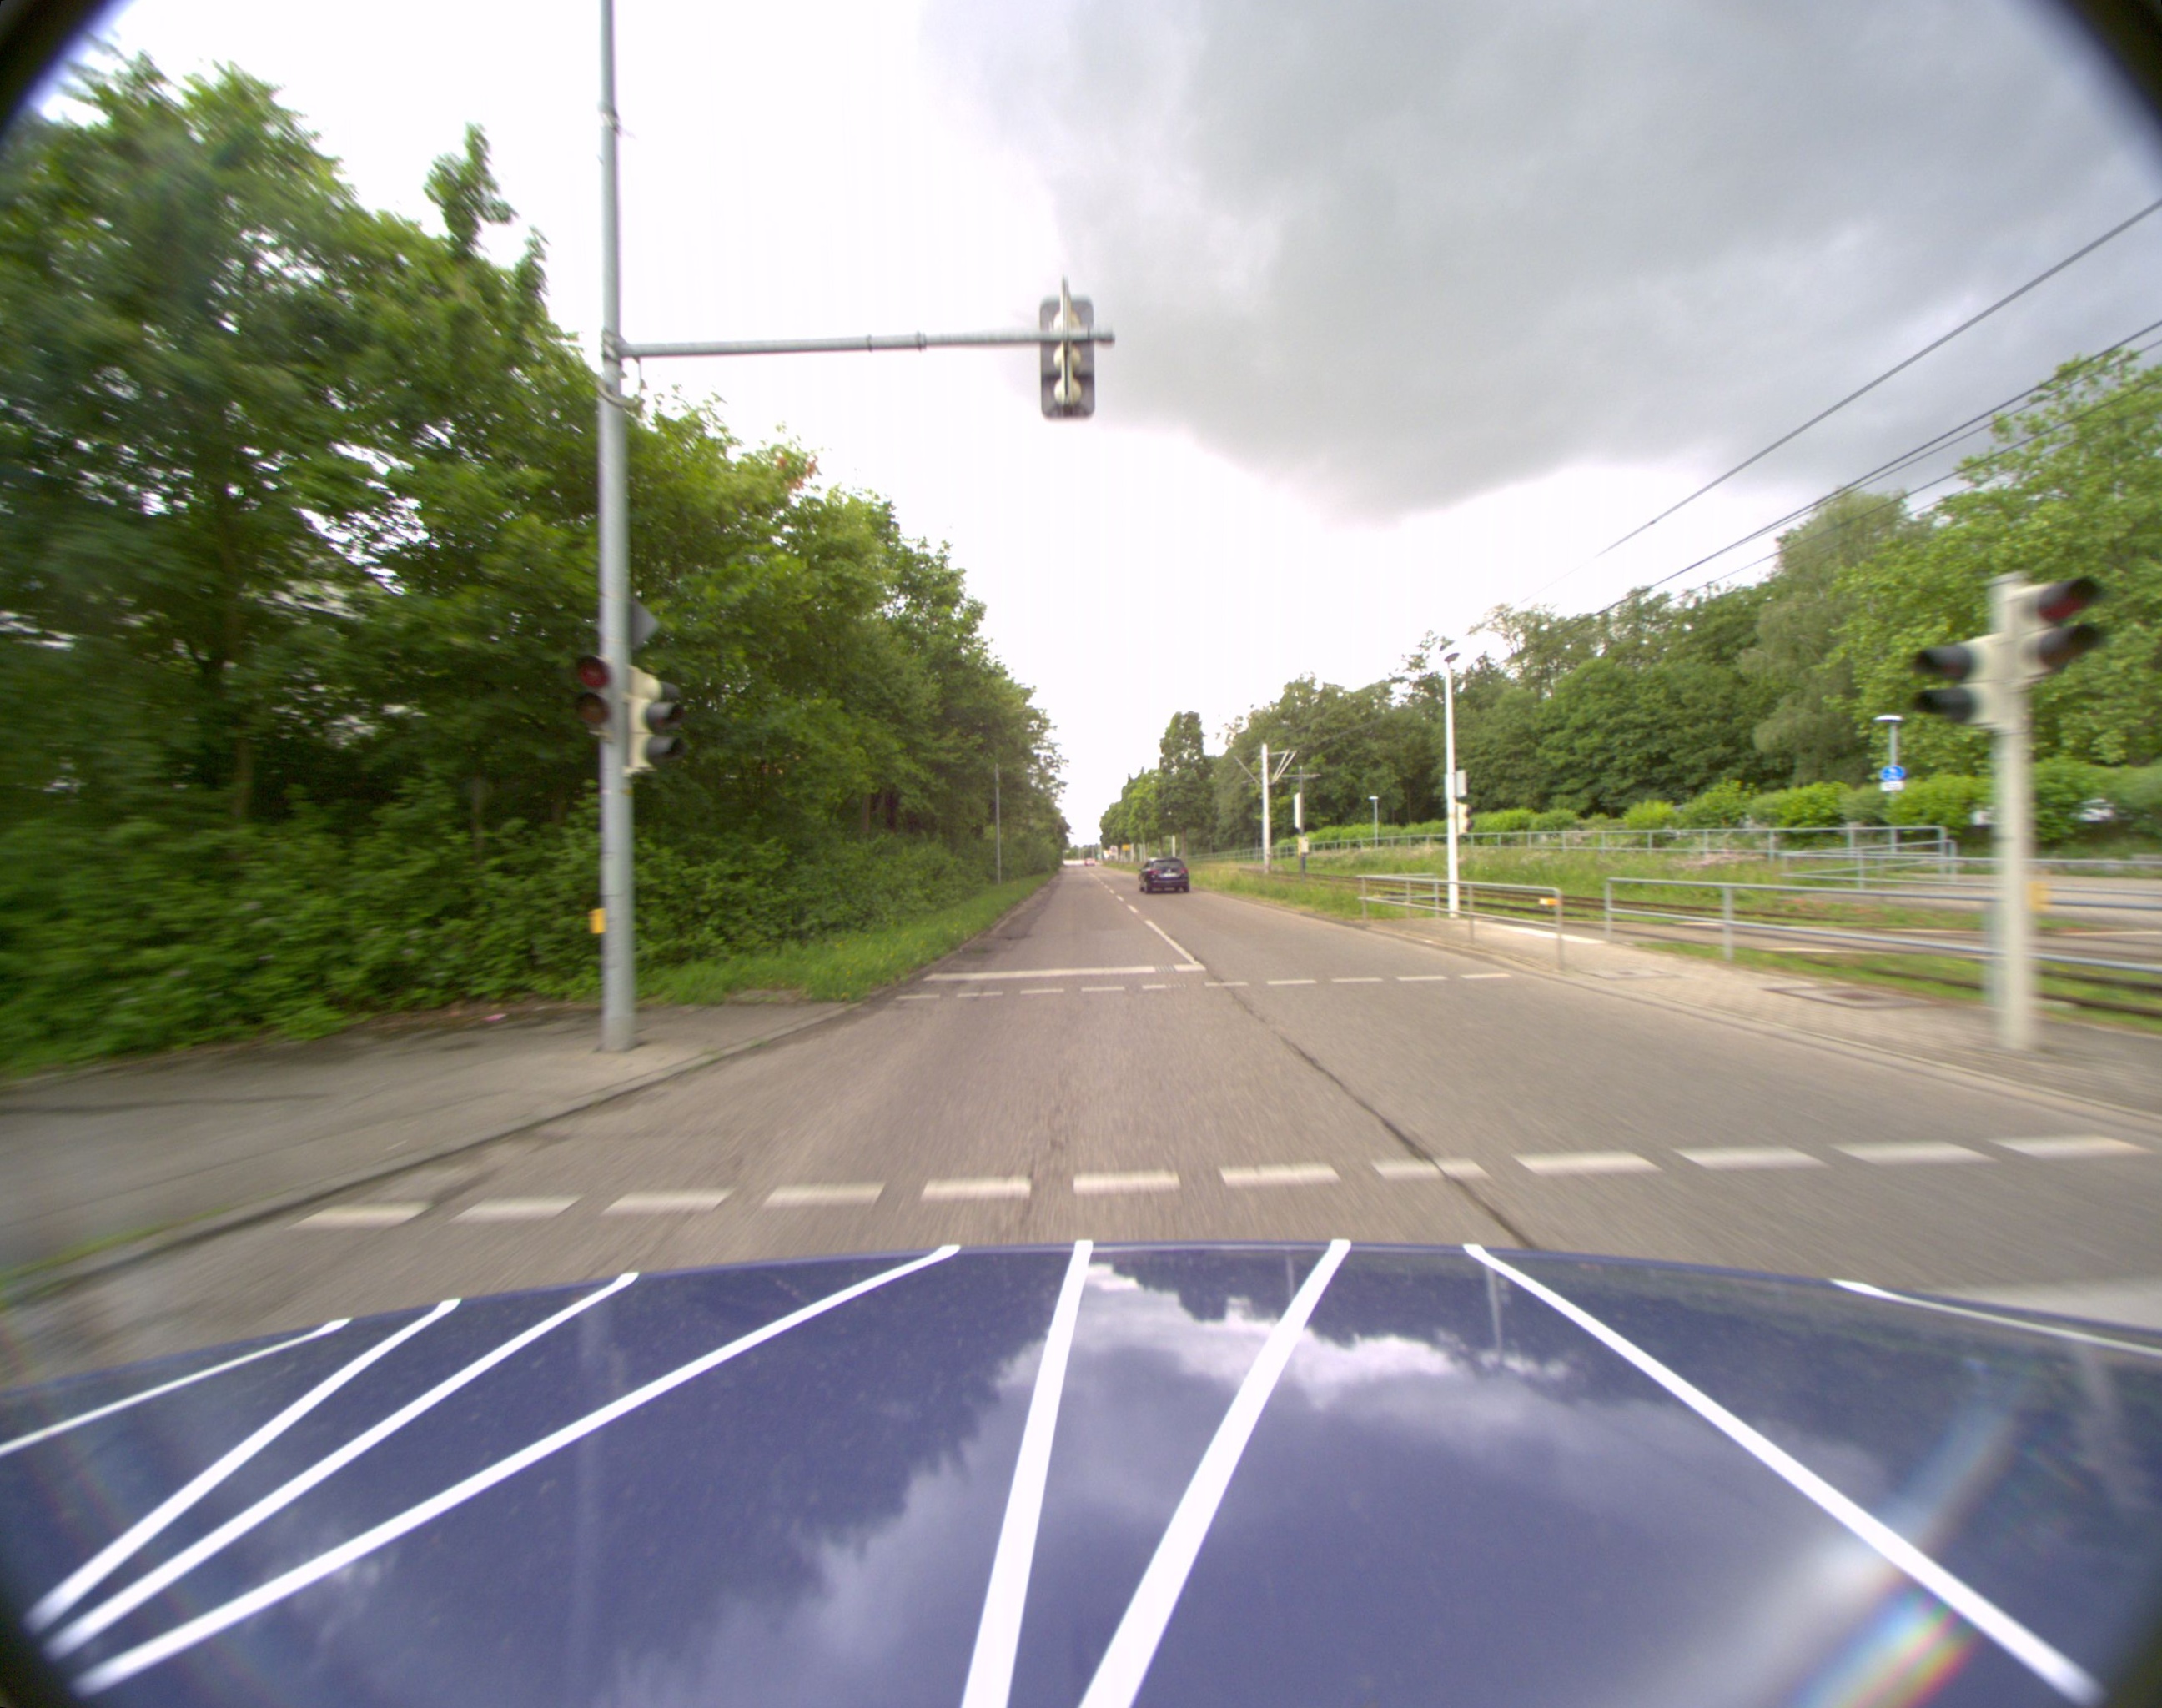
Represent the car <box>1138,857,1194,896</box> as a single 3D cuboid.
[{"bbox_3d":[3.511,0.917,31.981,1.855,1.461,4.256,-2,-1,0],"label":"car"}]
